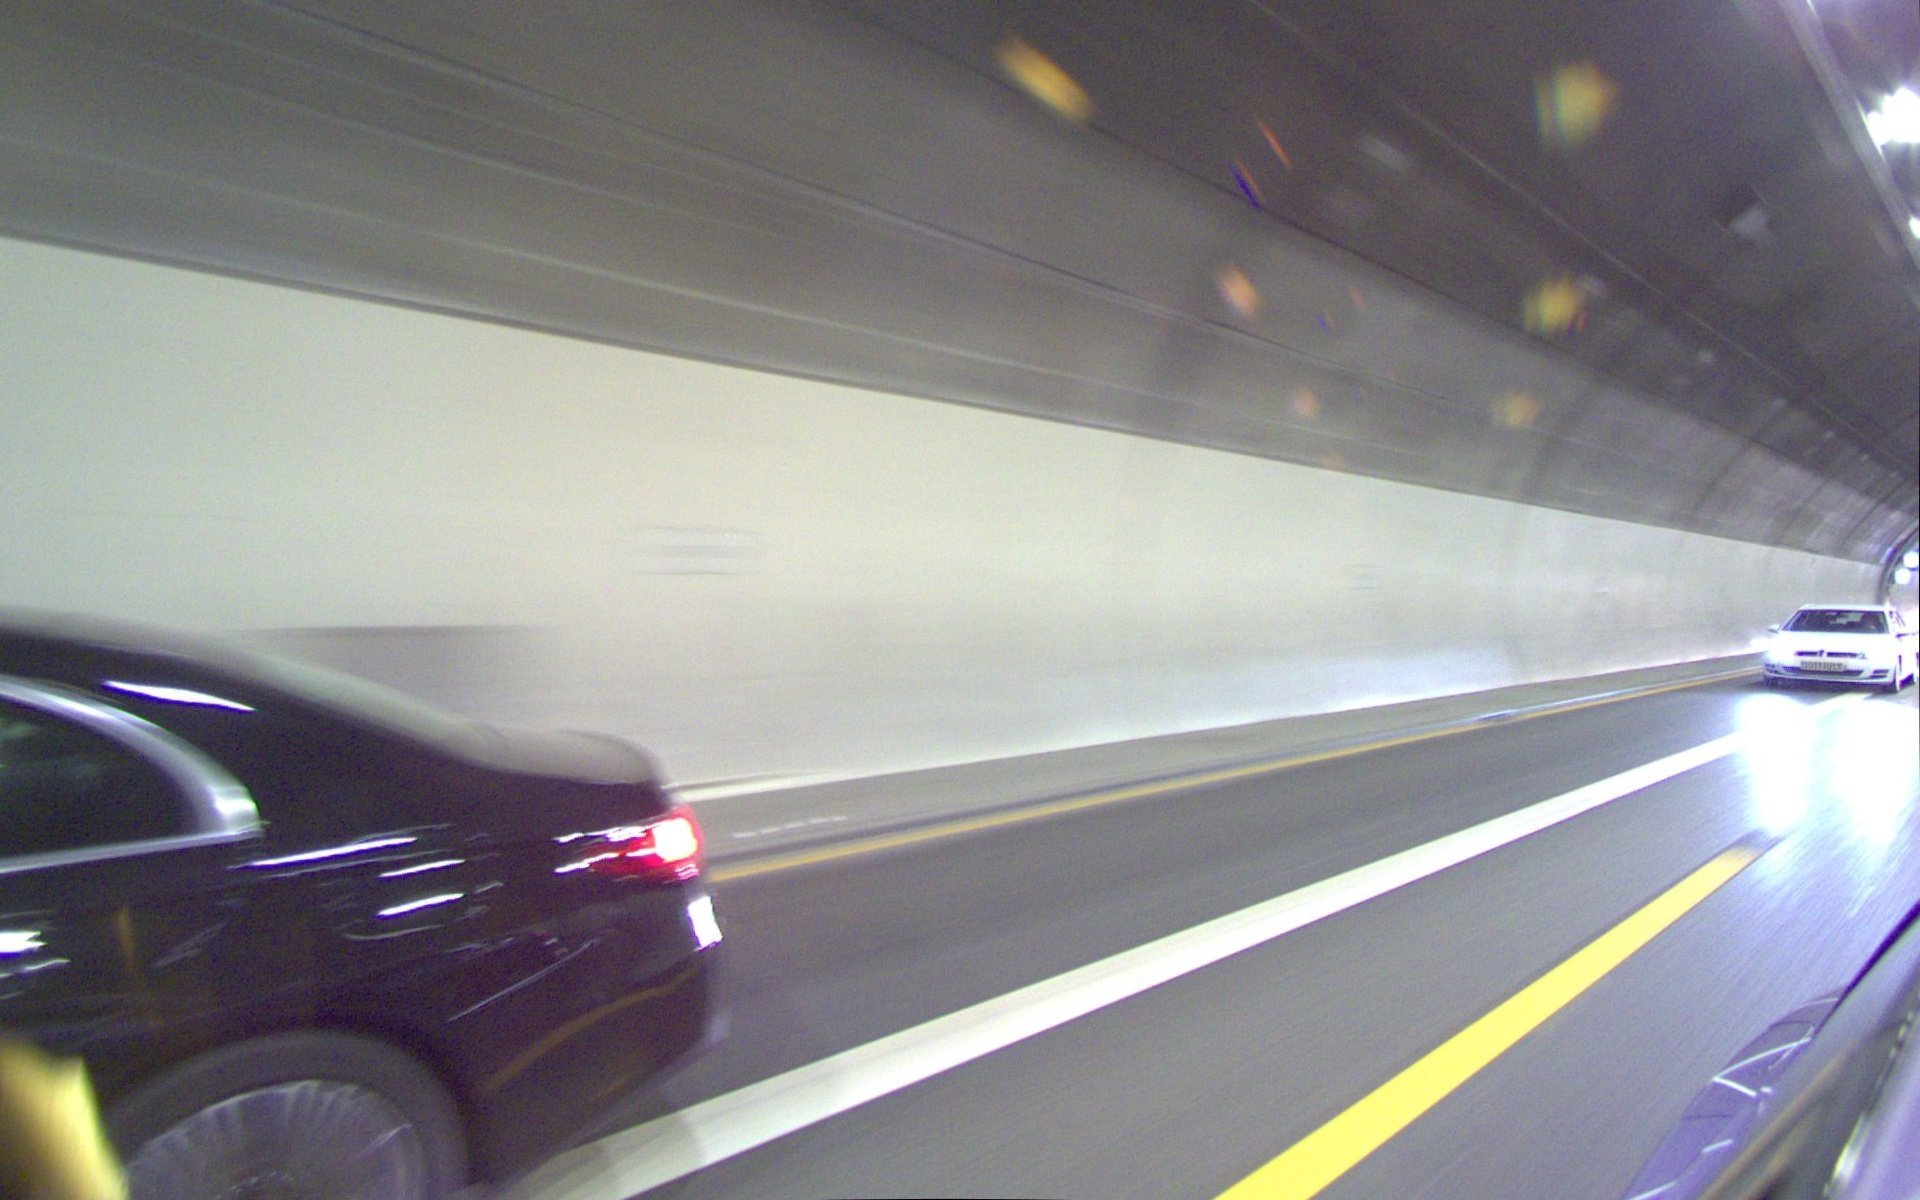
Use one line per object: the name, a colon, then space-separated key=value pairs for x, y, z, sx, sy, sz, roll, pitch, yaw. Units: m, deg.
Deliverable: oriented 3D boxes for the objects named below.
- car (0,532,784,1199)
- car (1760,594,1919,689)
car: x=-2.866 y=0.665 z=1.450 sx=4.867 sy=1.491 sz=1.929 roll=-1 pitch=0 yaw=-41
car: x=15.710 y=0.638 z=17.773 sx=3.962 sy=1.479 sz=1.801 roll=0 pitch=0 yaw=-39
